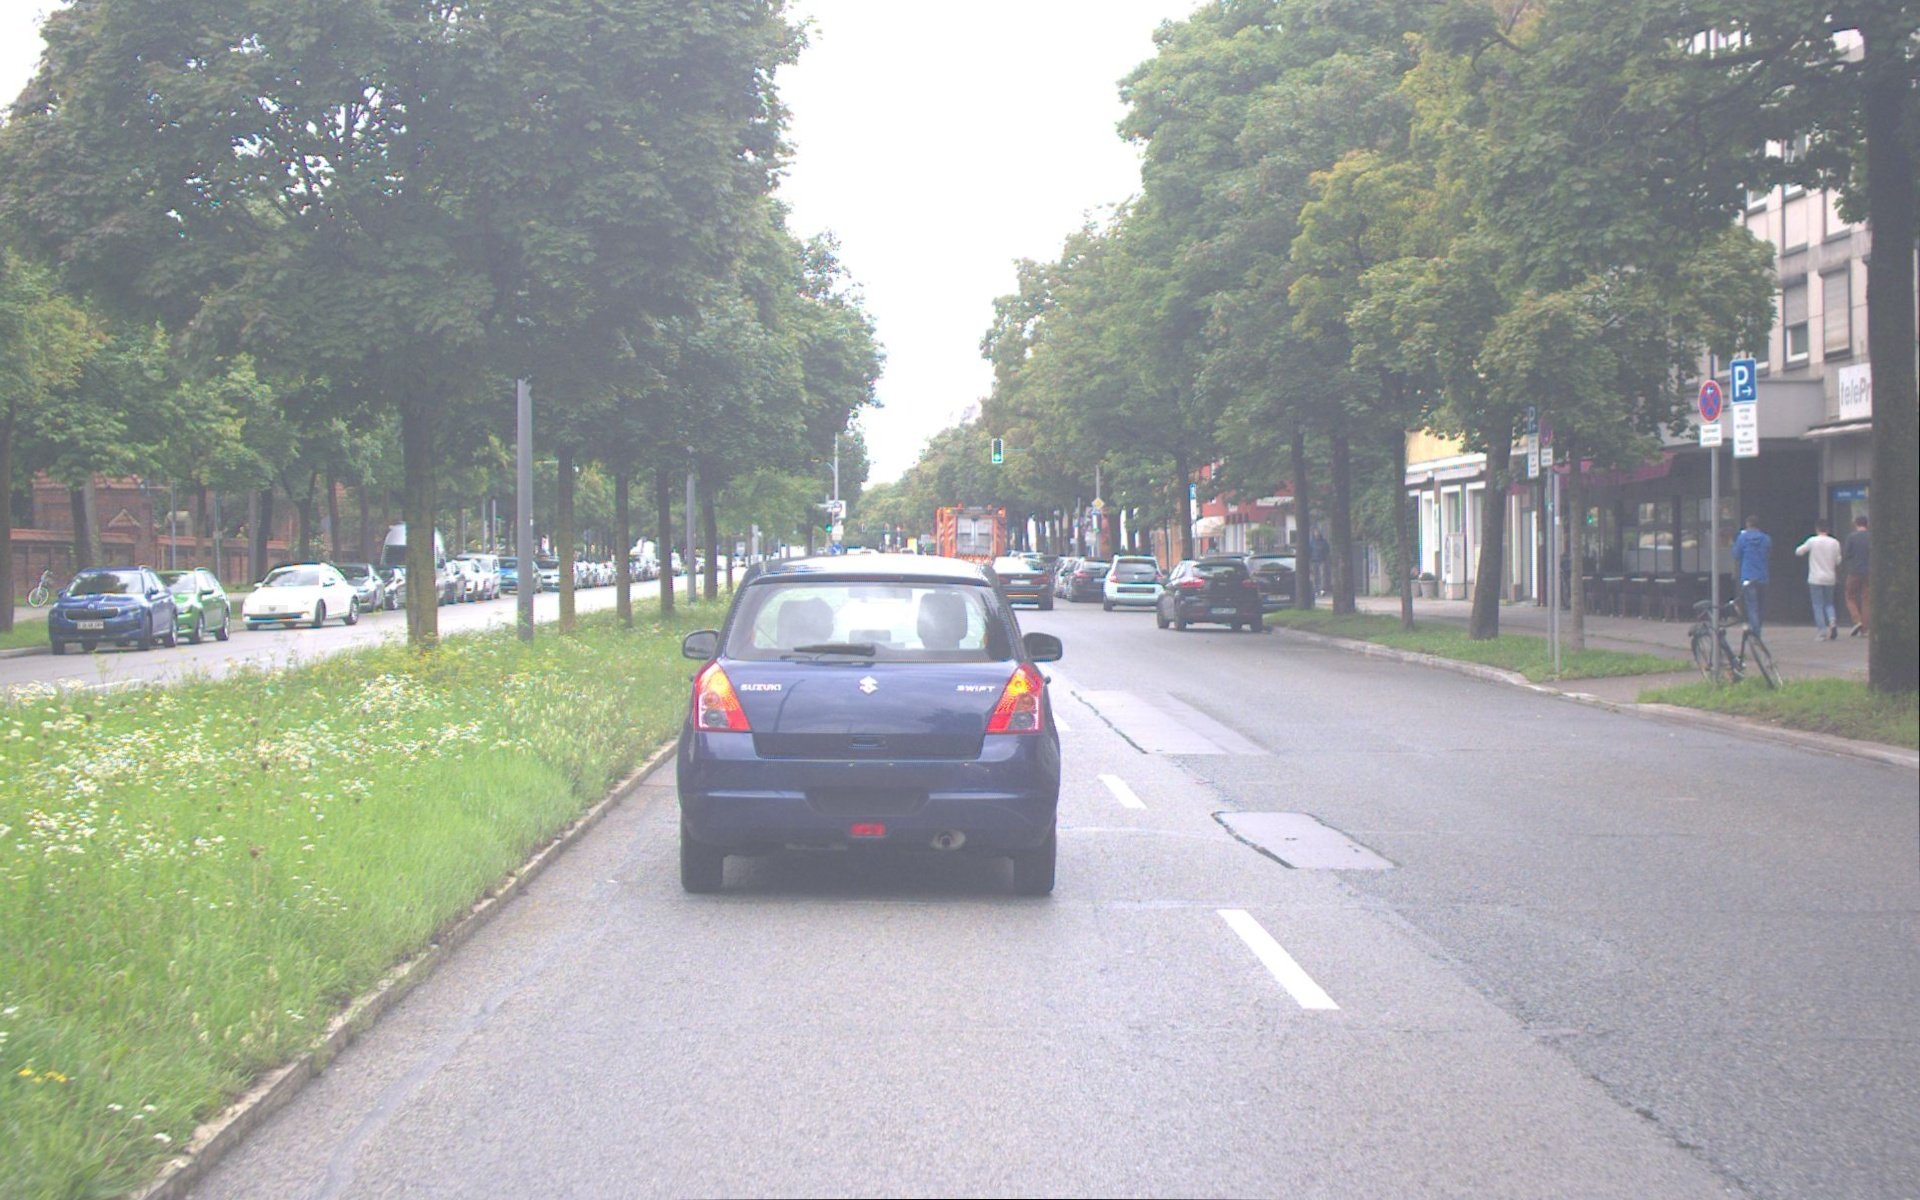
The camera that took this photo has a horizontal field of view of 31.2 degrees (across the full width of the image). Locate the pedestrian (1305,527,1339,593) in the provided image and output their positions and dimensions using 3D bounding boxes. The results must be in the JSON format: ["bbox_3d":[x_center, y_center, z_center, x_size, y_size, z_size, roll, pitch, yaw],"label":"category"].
[{"bbox_3d":[10.358,-1.144,98.454,0.792,1.849,0.777,-2,1,-4],"label":"pedestrian"}]

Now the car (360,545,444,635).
[{"bbox_3d":[-18.835,-0.370,116.226,2.185,2.943,6.193,0,1,-3],"label":"car"}]

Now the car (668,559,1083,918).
[{"bbox_3d":[-0.366,0.561,16.533,1.753,1.499,4.000,0,1,0],"label":"car"}]

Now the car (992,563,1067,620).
[{"bbox_3d":[1.898,-0.251,95.001,1.821,1.472,4.691,2,1,-1],"label":"car"}]

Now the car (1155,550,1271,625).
[{"bbox_3d":[5.083,-0.273,69.501,1.993,1.447,4.000,0,1,-1],"label":"car"}]

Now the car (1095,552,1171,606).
[{"bbox_3d":[4.714,-0.588,94.034,1.653,1.447,4.001,0,1,-3],"label":"car"}]

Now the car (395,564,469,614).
[{"bbox_3d":[-18.847,-0.416,122.915,2.185,1.730,4.579,0,1,-3],"label":"car"}]

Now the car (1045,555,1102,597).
[{"bbox_3d":[3.987,-0.851,121.350,1.653,1.447,4.001,0,1,-3],"label":"car"}]

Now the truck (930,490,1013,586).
[{"bbox_3d":[0.396,-2.396,133.508,3.041,3.545,13.675,0,1,0],"label":"truck"}]

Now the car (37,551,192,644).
[{"bbox_3d":[-15.386,-0.077,62.763,1.886,1.532,4.315,-3,1,-3],"label":"car"}]

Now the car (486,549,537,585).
[{"bbox_3d":[-19.283,-1.428,147.862,1.706,1.529,4.000,-1,1,-1],"label":"car"}]

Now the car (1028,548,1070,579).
[{"bbox_3d":[4.561,-1.882,176.722,1.993,1.525,4.000,-1,1,-1],"label":"car"}]

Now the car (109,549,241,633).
[{"bbox_3d":[-15.556,-0.203,68.286,1.638,1.532,4.315,-3,1,-1],"label":"car"}]

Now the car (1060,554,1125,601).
[{"bbox_3d":[4.234,-0.736,110.607,1.653,1.447,4.709,0,1,-3],"label":"car"}]

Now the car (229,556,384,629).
[{"bbox_3d":[-15.567,-0.193,82.091,1.762,1.532,4.311,-3,1,17],"label":"car"}]

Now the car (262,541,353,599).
[{"bbox_3d":[-17.833,-0.827,94.144,1.813,1.531,4.299,0,1,-2],"label":"car"}]

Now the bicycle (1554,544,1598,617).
[{"bbox_3d":[12.607,-0.410,70.410,0.580,1.458,1.688,0,1,-1],"label":"bicycle"}]

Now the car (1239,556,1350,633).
[{"bbox_3d":[7.459,-0.148,76.952,1.993,1.637,4.333,0,1,-1],"label":"car"}]

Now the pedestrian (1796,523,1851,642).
[{"bbox_3d":[12.020,-0.247,47.855,0.549,1.624,0.641,-2,1,-1],"label":"pedestrian"}]

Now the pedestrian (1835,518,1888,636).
[{"bbox_3d":[12.650,-0.322,48.253,0.541,1.635,0.724,0,1,-1],"label":"pedestrian"}]

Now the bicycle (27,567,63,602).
[{"bbox_3d":[-25.414,-0.435,95.512,0.655,0.933,1.620,0,1,-4],"label":"bicycle"}]

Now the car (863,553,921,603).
[{"bbox_3d":[-2.093,-0.680,105.740,1.718,1.495,4.301,0,1,-1],"label":"car"}]

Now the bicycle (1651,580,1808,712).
[{"bbox_3d":[7.631,0.433,34.190,0.454,1.251,2.150,-1,1,-19],"label":"bicycle"}]

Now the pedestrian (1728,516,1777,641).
[{"bbox_3d":[11.024,-0.301,47.814,0.499,1.727,0.733,0,1,-1],"label":"pedestrian"}]

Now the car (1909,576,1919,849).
[{"bbox_3d":[5.951,0.618,16.363,1.521,1.436,4.001,0,1,-4],"label":"car"}]
